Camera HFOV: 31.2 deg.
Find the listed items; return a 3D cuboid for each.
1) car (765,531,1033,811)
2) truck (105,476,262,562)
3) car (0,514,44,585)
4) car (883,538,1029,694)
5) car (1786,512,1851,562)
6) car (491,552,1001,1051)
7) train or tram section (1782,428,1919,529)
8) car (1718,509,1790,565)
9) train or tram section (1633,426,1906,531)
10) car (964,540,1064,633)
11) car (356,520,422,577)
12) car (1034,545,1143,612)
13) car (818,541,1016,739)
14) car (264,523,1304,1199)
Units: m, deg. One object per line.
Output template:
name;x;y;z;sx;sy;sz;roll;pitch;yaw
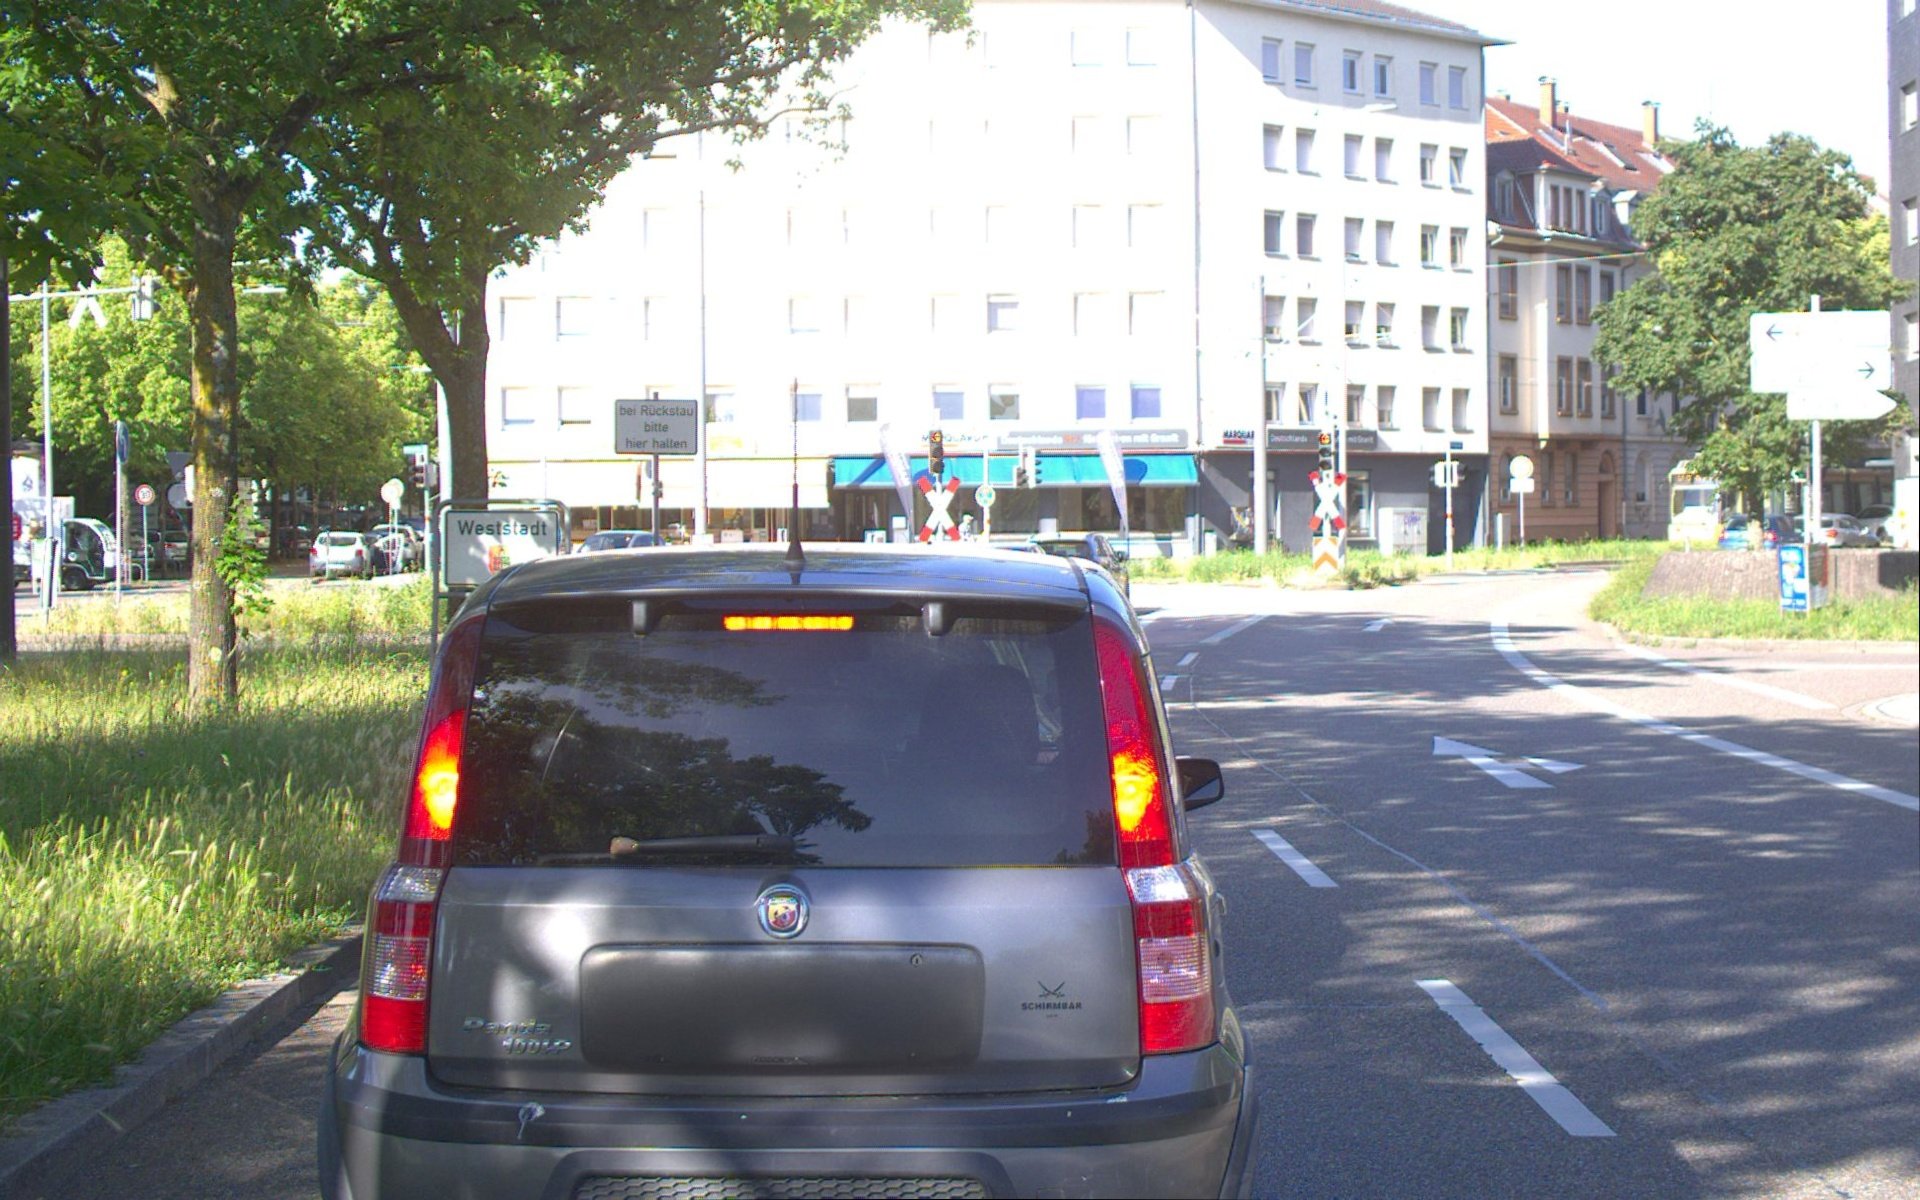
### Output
car;-0.355;0.355;20.690;1.463;1.503;3.505;0;2;-1
truck;-28.869;-2.997;127.786;5.485;3.158;2.340;0;1;28
car;-28.534;-1.434;98.266;4.176;2.007;1.932;-1;1;-2
car;-0.055;0.121;33.873;1.356;1.444;3.266;-1;1;-1
car;23.458;-1.725;93.890;1.528;1.310;3.285;0;2;18
car;-0.638;0.560;11.650;1.463;1.396;3.393;0;1;-1
train or tram section;37.948;-4.802;137.387;3.302;3.757;20.772;0;2;33
car;20.889;-1.667;90.398;1.683;1.444;3.569;0;1;15
train or tram section;29.522;-4.327;124.162;3.302;3.501;19.349;0;2;33
car;0.755;-0.214;49.606;1.356;1.277;2.876;0;1;-1
car;-20.505;-1.874;123.594;1.993;2.007;4.001;-1;1;-4
car;2.177;-0.373;57.680;1.143;1.060;2.719;0;1;17
car;-0.341;0.267;27.274;1.463;1.420;3.381;0;2;-1
car;-0.296;0.598;7.429;1.628;1.503;4.000;-1;1;-1
